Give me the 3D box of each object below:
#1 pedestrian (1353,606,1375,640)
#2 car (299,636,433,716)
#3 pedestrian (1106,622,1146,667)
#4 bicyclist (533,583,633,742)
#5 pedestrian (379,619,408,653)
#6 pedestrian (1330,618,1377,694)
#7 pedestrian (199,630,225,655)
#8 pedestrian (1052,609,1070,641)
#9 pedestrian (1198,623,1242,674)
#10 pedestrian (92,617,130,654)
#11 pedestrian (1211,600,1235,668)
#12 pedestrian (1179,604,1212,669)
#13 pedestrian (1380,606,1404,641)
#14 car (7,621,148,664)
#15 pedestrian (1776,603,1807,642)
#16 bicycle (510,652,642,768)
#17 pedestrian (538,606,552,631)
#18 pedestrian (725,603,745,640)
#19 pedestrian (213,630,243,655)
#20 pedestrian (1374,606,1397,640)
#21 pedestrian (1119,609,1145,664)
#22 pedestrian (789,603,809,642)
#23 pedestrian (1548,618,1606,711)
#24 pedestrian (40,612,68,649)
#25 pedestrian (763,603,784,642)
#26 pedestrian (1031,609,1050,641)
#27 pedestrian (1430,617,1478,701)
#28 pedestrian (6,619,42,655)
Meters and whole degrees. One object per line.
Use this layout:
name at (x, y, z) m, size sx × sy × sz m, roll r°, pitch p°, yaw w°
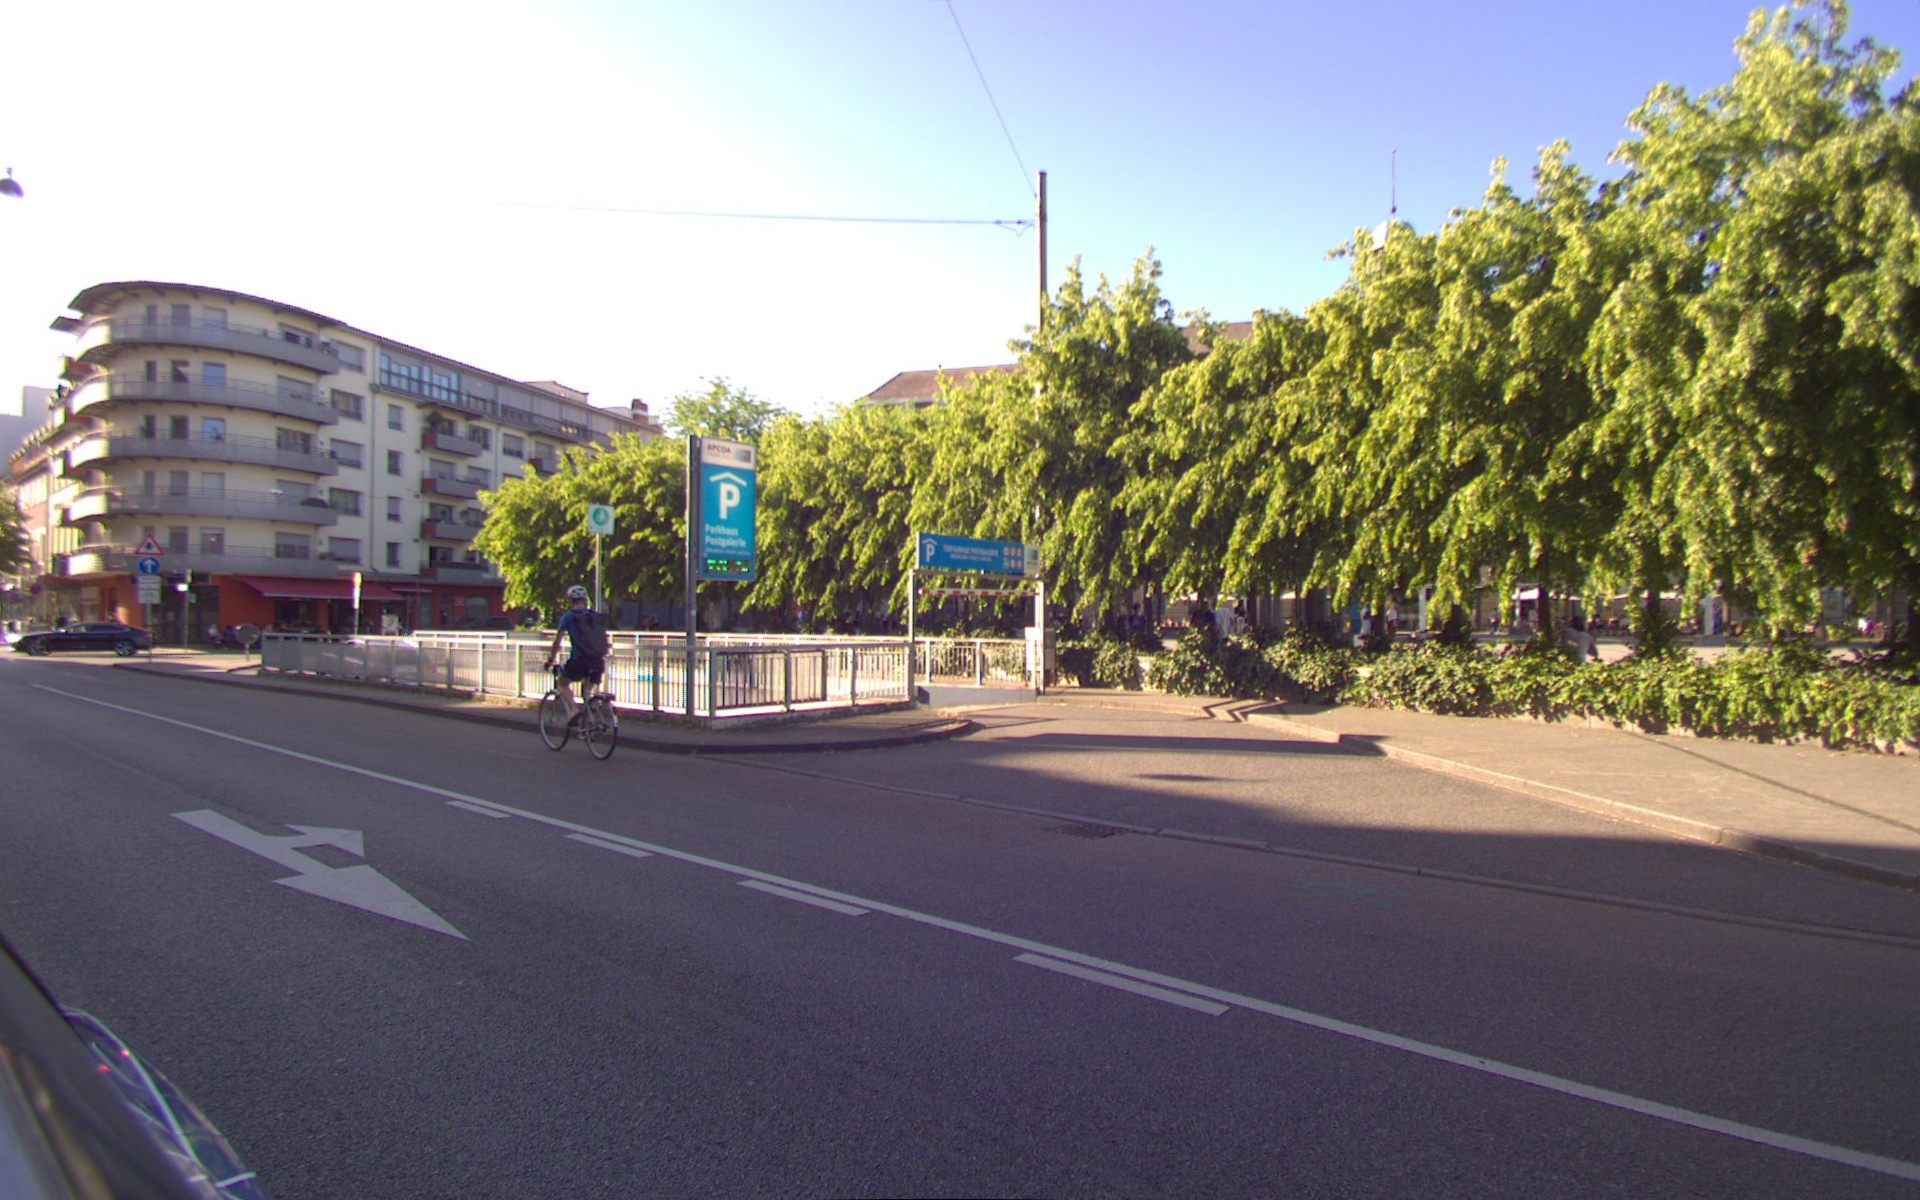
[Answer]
pedestrian at (18.986, 1.071, 47.557) m, size 0.673 × 1.535 × 0.695 m, roll -1°, pitch 0°, yaw -7°
car at (-14.931, 1.827, 25.365) m, size 3.904 × 1.542 × 1.617 m, roll 3°, pitch 2°, yaw 39°
pedestrian at (4.098, 1.088, 25.026) m, size 0.682 × 1.079 × 0.686 m, roll -1°, pitch 0°, yaw -29°
bicyclist at (-4.291, 0.701, 11.521) m, size 0.810 × 1.722 × 0.693 m, roll -1°, pitch -4°, yaw 41°
pedestrian at (-28.917, 1.803, 51.674) m, size 1.251 × 1.678 × 1.143 m, roll -1°, pitch 0°, yaw -29°
pedestrian at (7.518, 1.060, 19.353) m, size 0.622 × 1.409 × 0.644 m, roll -1°, pitch 0°, yaw 44°
pedestrian at (-37.645, 2.135, 50.949) m, size 0.882 × 1.207 × 0.772 m, roll -1°, pitch 0°, yaw 30°
pedestrian at (4.467, 1.104, 44.825) m, size 0.684 × 1.385 × 0.684 m, roll -1°, pitch 0°, yaw 1°
pedestrian at (5.721, 1.049, 22.278) m, size 0.682 × 1.079 × 0.686 m, roll -1°, pitch 0°, yaw -13°
pedestrian at (-41.444, 1.722, 49.390) m, size 0.952 × 1.762 × 1.058 m, roll -1°, pitch 0°, yaw 10°
pedestrian at (6.234, 0.803, 24.011) m, size 0.521 × 1.594 × 0.681 m, roll -1°, pitch 0°, yaw 14°
pedestrian at (5.555, 0.854, 23.865) m, size 0.688 × 1.511 × 0.680 m, roll -1°, pitch 0°, yaw 19°
pedestrian at (19.645, 1.063, 45.999) m, size 0.672 × 1.536 × 0.696 m, roll -1°, pitch 0°, yaw -19°
car at (-35.841, 1.690, 41.259) m, size 4.180 × 1.542 × 1.681 m, roll -1°, pitch 0°, yaw -36°
pedestrian at (33.284, 0.893, 40.508) m, size 0.734 × 1.542 × 0.690 m, roll -1°, pitch 0°, yaw 16°
bicycle at (-4.430, 1.205, 11.591) m, size 1.958 × 1.171 × 0.609 m, roll -1°, pitch -3°, yaw 44°
pedestrian at (-31.116, 1.394, 75.885) m, size 0.684 × 1.857 × 0.737 m, roll -1°, pitch 0°, yaw 41°
pedestrian at (-11.170, 1.065, 50.263) m, size 0.679 × 1.857 × 0.743 m, roll -1°, pitch 0°, yaw 19°
pedestrian at (-36.824, 2.124, 50.905) m, size 0.827 × 1.207 × 0.931 m, roll -1°, pitch 0°, yaw 16°
pedestrian at (19.741, 1.062, 46.981) m, size 0.672 × 1.542 × 0.696 m, roll -1°, pitch 0°, yaw -18°
pedestrian at (4.420, 0.931, 25.934) m, size 0.545 × 1.385 × 0.680 m, roll -1°, pitch 0°, yaw 19°
pedestrian at (-7.921, 1.094, 49.765) m, size 0.681 × 1.857 × 0.741 m, roll -1°, pitch 0°, yaw 27°
pedestrian at (9.801, 1.011, 16.098) m, size 0.611 × 1.447 × 0.588 m, roll -1°, pitch 0°, yaw 14°
pedestrian at (-48.454, 1.637, 54.127) m, size 0.790 × 1.934 × 0.978 m, roll -1°, pitch 0°, yaw 37°
pedestrian at (-9.030, 1.099, 49.080) m, size 0.681 × 1.877 × 0.741 m, roll -1°, pitch 0°, yaw 27°
pedestrian at (3.572, 1.116, 44.862) m, size 0.752 × 1.385 × 0.684 m, roll -1°, pitch 0°, yaw 1°
pedestrian at (8.745, 1.025, 17.907) m, size 0.621 × 1.447 × 0.645 m, roll -1°, pitch 0°, yaw 39°
pedestrian at (-46.077, 1.795, 49.832) m, size 1.078 × 1.732 × 1.057 m, roll -1°, pitch 0°, yaw 33°
